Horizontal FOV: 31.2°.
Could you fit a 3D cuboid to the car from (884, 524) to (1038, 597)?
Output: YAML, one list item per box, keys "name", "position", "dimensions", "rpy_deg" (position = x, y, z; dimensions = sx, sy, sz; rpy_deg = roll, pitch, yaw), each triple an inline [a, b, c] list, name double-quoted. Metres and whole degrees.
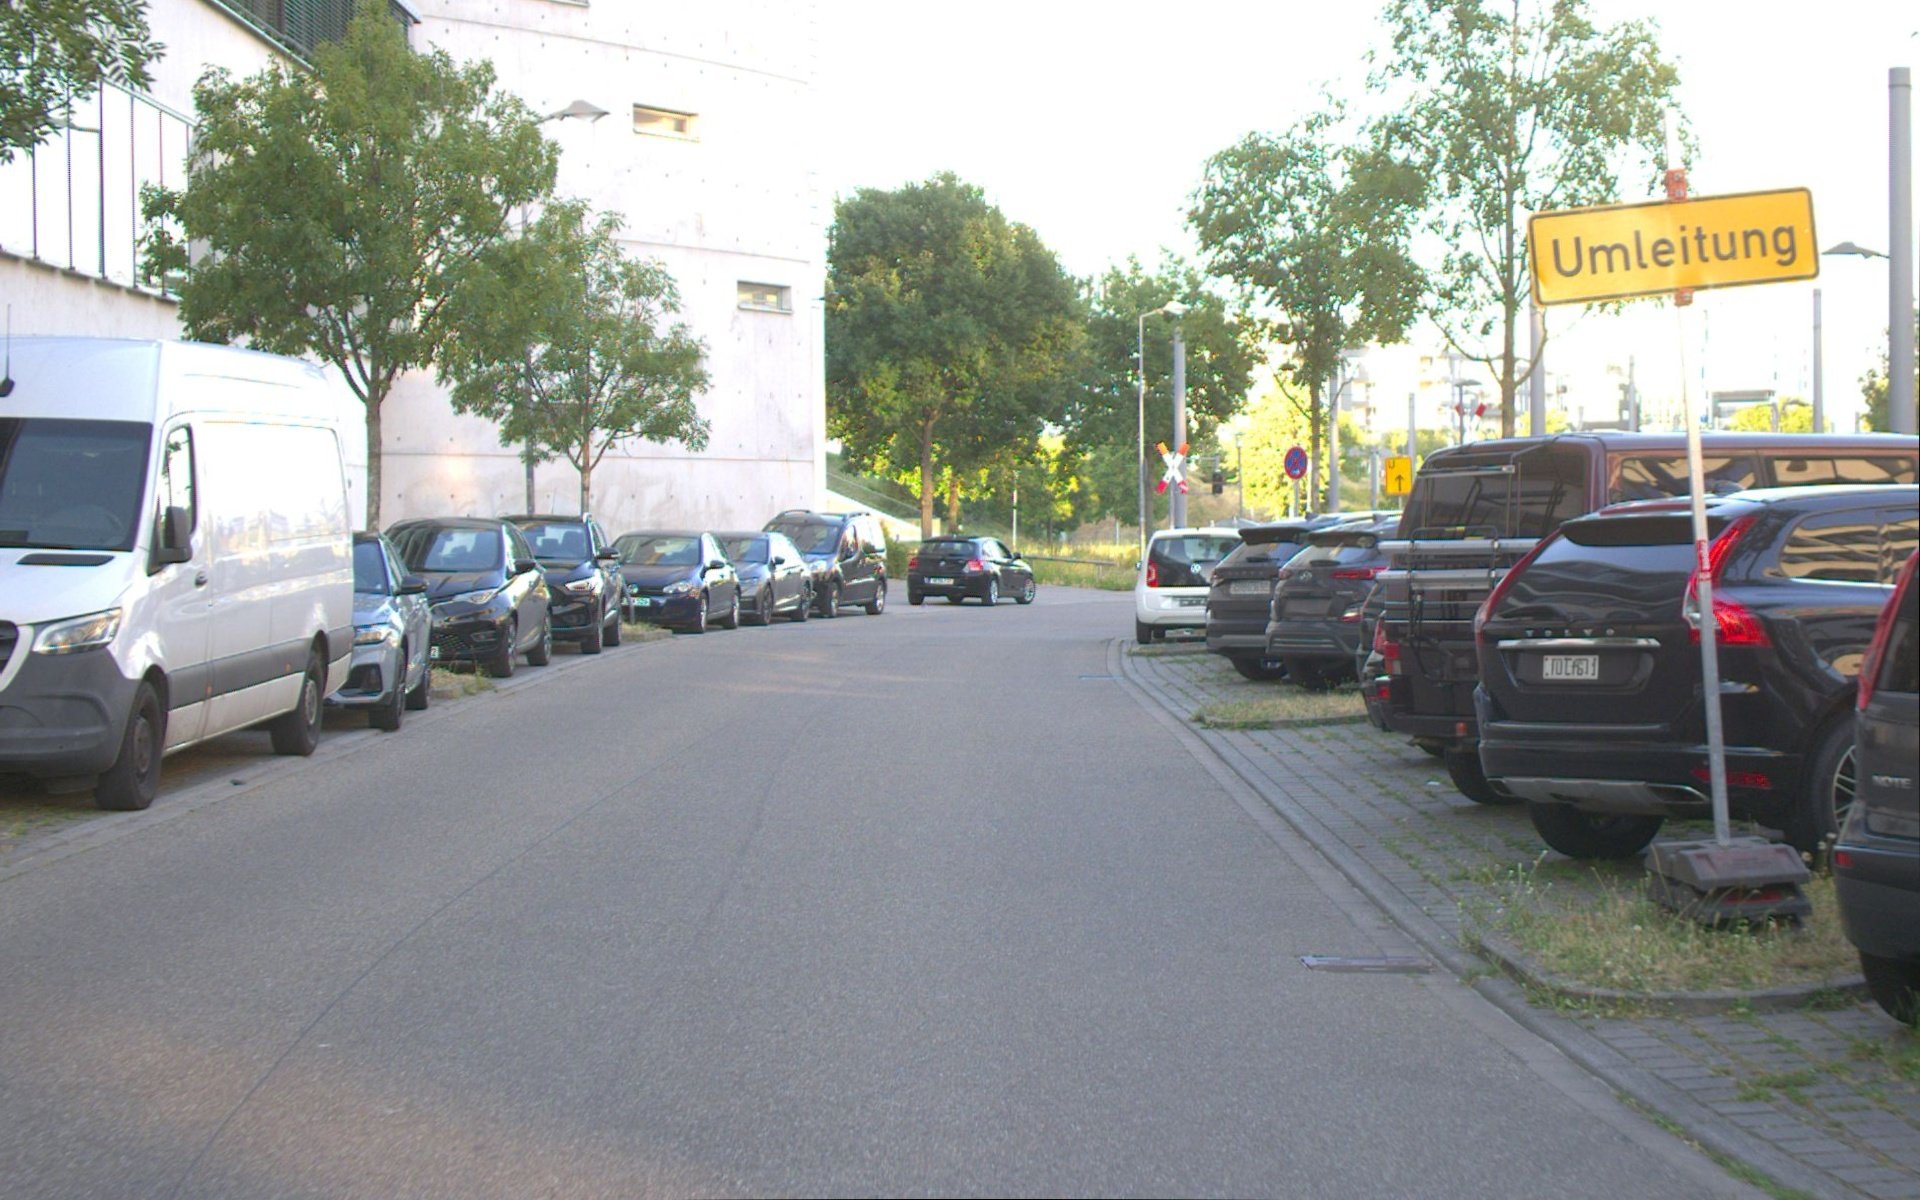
- name: "car"
  position: [0.057, -0.837, 70.541]
  dimensions: [1.945, 1.378, 4.396]
  rpy_deg: [2, 2, 16]

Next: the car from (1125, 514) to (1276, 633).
- name: "car"
  position: [3.210, -0.376, 45.449]
  dimensions: [1.723, 1.462, 3.552]
  rpy_deg: [-1, 2, 8]

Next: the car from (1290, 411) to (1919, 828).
- name: "car"
  position: [4.205, 0.054, 18.747]
  dimensions: [4.588, 2.028, 1.871]
  rpy_deg: [0, 2, -33]

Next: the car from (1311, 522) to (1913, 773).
- name: "car"
  position: [4.258, 0.264, 22.273]
  dimensions: [3.767, 1.460, 1.639]
  rpy_deg: [0, 2, -35]

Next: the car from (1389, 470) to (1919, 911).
- name: "car"
  position: [4.357, 0.328, 15.763]
  dimensions: [4.588, 1.743, 1.871]
  rpy_deg: [0, 2, -33]

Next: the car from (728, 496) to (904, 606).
- name: "car"
  position: [-2.476, -0.895, 60.271]
  dimensions: [1.758, 1.792, 4.460]
  rpy_deg: [2, 2, 15]

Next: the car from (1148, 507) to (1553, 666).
- name: "car"
  position: [4.231, -0.175, 37.177]
  dimensions: [3.920, 1.504, 1.957]
  rpy_deg: [-3, 2, -29]

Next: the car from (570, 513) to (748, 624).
- name: "car"
  position: [-4.312, -0.491, 49.803]
  dimensions: [1.723, 1.452, 4.270]
  rpy_deg: [2, 2, 6]

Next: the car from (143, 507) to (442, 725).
- name: "car"
  position: [-4.949, 0.060, 25.955]
  dimensions: [1.755, 1.434, 3.902]
  rpy_deg: [1, 2, -5]

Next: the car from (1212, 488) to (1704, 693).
- name: "car"
  position: [4.532, -0.114, 31.257]
  dimensions: [3.973, 1.634, 1.973]
  rpy_deg: [-3, 1, -27]

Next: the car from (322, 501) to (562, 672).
- name: "car"
  position: [-5.184, -0.189, 34.871]
  dimensions: [1.756, 1.555, 4.043]
  rpy_deg: [2, 2, 0]

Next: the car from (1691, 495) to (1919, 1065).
- name: "car"
  position: [4.338, 0.533, 10.756]
  dimensions: [3.987, 1.589, 1.737]
  rpy_deg: [1, 1, -36]

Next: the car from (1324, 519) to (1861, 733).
- name: "car"
  position: [4.728, 0.158, 25.550]
  dimensions: [3.767, 1.437, 1.763]
  rpy_deg: [0, 2, -35]

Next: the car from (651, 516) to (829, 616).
- name: "car"
  position: [-3.488, -0.580, 55.301]
  dimensions: [1.723, 1.452, 4.692]
  rpy_deg: [2, 2, 10]

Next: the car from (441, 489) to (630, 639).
- name: "car"
  position: [-5.011, -0.471, 41.027]
  dimensions: [1.756, 1.647, 3.949]
  rpy_deg: [2, 2, -1]

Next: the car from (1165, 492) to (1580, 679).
- name: "car"
  position: [4.088, -0.161, 33.972]
  dimensions: [3.766, 1.720, 1.764]
  rpy_deg: [0, 2, -32]

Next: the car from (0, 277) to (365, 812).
- name: "car"
  position: [-5.143, -0.413, 20.288]
  dimensions: [1.958, 2.608, 6.893]
  rpy_deg: [2, 2, 0]
